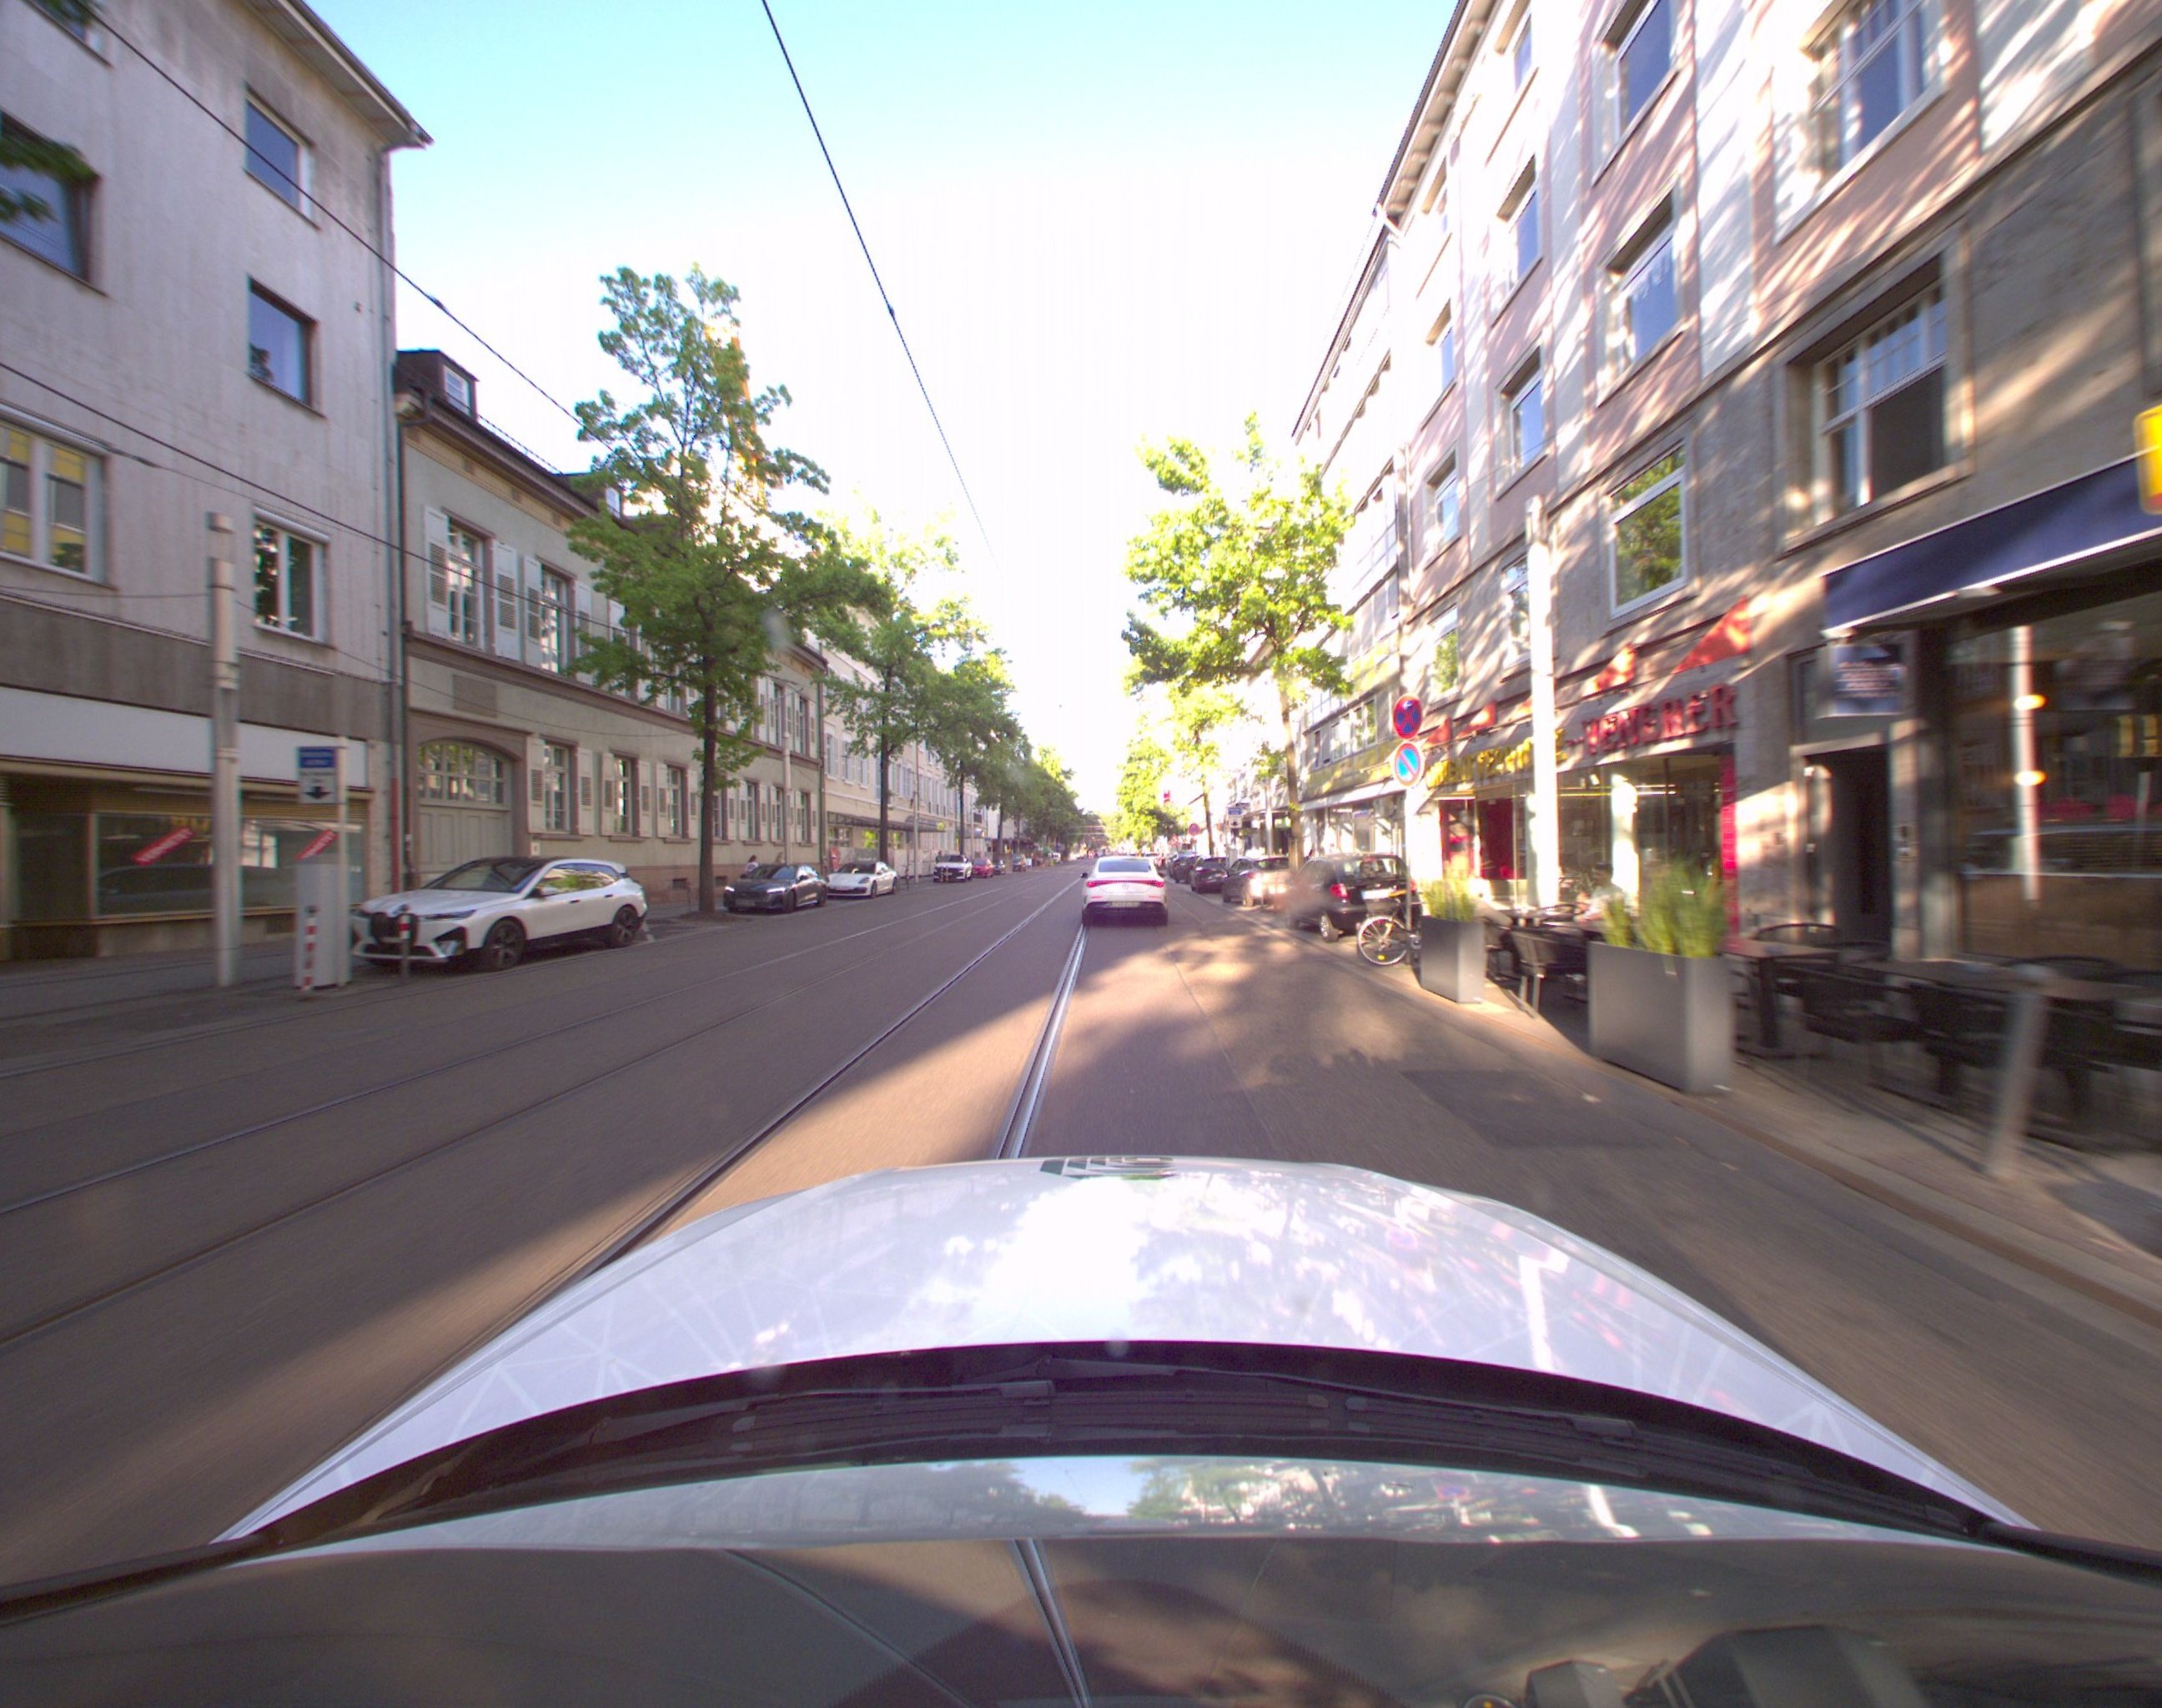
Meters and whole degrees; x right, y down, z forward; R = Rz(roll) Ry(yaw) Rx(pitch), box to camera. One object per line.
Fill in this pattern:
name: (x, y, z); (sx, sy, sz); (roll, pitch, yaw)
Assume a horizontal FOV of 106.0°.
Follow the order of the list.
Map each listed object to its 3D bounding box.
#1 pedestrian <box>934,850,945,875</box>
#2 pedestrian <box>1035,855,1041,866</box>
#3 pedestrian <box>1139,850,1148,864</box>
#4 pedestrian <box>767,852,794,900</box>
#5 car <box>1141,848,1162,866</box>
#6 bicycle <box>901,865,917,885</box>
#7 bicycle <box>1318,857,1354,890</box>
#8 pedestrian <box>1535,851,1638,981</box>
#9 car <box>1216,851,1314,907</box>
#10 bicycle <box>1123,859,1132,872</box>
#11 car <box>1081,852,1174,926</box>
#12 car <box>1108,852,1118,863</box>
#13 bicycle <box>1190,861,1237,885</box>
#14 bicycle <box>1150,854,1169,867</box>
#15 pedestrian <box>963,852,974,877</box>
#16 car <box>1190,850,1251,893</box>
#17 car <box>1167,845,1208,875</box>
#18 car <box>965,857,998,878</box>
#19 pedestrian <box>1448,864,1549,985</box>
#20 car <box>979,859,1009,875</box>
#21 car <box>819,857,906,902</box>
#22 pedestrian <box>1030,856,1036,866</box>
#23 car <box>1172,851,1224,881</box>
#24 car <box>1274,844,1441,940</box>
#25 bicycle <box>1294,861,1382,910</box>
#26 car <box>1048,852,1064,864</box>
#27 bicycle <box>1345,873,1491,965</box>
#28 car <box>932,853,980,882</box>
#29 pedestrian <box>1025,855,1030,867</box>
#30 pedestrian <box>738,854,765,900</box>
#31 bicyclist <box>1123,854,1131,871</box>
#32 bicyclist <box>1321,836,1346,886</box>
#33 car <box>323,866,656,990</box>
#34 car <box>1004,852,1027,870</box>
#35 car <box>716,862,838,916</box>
pedestrian: (-10.664, 0.636, 61.287); (0.706, 1.806, 0.675); (-2, 0, -3)
pedestrian: (-6.005, 0.948, 114.117); (0.519, 1.478, 0.644); (-4, -1, -25)
pedestrian: (8.215, 0.372, 107.101); (0.920, 1.774, 0.870); (-2, 0, -13)
pedestrian: (-11.046, 0.790, 29.970); (0.683, 1.720, 0.656); (-1, 0, 2)
car: (7.501, 0.319, 86.708); (1.986, 1.728, 4.243); (-2, 0, 2)
bicycle: (-9.477, 1.138, 44.914); (0.592, 1.050, 2.005); (-2, 0, -5)
bicycle: (8.804, 0.661, 28.173); (0.645, 1.074, 1.861); (-3, 0, 0)
pedestrian: (5.769, 0.677, 9.304); (0.713, 1.387, 0.739); (-2, 0, -36)
car: (5.377, 0.698, 24.317); (1.810, 1.486, 3.995); (-2, 0, -3)
bicycle: (4.586, 1.106, 80.342); (0.737, 1.188, 2.162); (-2, 0, 3)
car: (0.954, 0.713, 18.421); (1.862, 1.469, 4.042); (-1, 0, 0)
car: (7.795, 0.877, 199.935); (1.989, 2.541, 3.995); (-2, -1, -3)
bicycle: (5.852, 0.845, 36.096); (2.026, 0.964, 0.282); (-2, 0, 7)
bicycle: (7.296, 0.615, 75.627); (1.714, 1.062, 0.581); (-2, 0, 5)
pedestrian: (-9.254, 0.880, 66.939); (0.705, 2.004, 0.675); (-2, 0, -2)
car: (5.411, 0.644, 32.085); (1.863, 1.453, 4.110); (-4, 0, 4)
car: (6.439, 0.344, 49.804); (1.986, 1.713, 4.868); (-2, 0, 2)
car: (-7.486, 0.999, 61.466); (1.681, 1.499, 4.237); (-2, 0, 3)
pedestrian: (4.631, 0.768, 9.068); (0.813, 1.265, 0.587); (-2, 0, 7)
car: (-7.489, 1.116, 70.383); (1.986, 1.292, 4.002); (-2, 0, 2)
car: (-8.763, 0.983, 33.126); (1.938, 1.640, 4.913); (-1, 0, 3)
pedestrian: (-6.639, 0.978, 112.865); (0.564, 1.464, 0.653); (-2, 0, 21)
car: (5.983, 0.599, 42.129); (1.834, 1.436, 3.994); (-2, 0, -4)
car: (4.987, 0.636, 15.241); (1.795, 1.458, 3.653); (-4, 0, 0)
bicycle: (6.183, 0.743, 19.636); (1.854, 1.074, 0.710); (-3, 0, -8)
car: (-4.506, 0.750, 145.847); (1.981, 2.013, 4.012); (-2, 0, 10)
bicycle: (4.544, 0.890, 11.051); (1.711, 1.138, 0.549); (-4, -1, 22)
car: (-7.840, 0.813, 51.396); (1.953, 1.692, 5.017); (-2, 0, 3)
pedestrian: (-7.653, 0.963, 116.968); (0.515, 1.652, 0.650); (-2, 0, 2)
pedestrian: (-12.228, 0.851, 30.248); (0.672, 1.680, 0.648); (-2, 0, 1)
bicyclist: (4.566, 0.836, 80.210); (0.722, 1.702, 0.811); (-2, 0, 2)
bicyclist: (8.773, 0.231, 28.303); (0.636, 1.684, 0.600); (-3, 0, 0)
car: (-9.572, 1.079, 13.853); (1.954, 1.640, 4.815); (1, 0, 2)
car: (-6.664, 0.686, 83.125); (1.543, 1.796, 3.176); (-2, 0, 10)
car: (-9.204, 1.004, 25.178); (1.956, 1.412, 4.845); (-2, 0, -1)
